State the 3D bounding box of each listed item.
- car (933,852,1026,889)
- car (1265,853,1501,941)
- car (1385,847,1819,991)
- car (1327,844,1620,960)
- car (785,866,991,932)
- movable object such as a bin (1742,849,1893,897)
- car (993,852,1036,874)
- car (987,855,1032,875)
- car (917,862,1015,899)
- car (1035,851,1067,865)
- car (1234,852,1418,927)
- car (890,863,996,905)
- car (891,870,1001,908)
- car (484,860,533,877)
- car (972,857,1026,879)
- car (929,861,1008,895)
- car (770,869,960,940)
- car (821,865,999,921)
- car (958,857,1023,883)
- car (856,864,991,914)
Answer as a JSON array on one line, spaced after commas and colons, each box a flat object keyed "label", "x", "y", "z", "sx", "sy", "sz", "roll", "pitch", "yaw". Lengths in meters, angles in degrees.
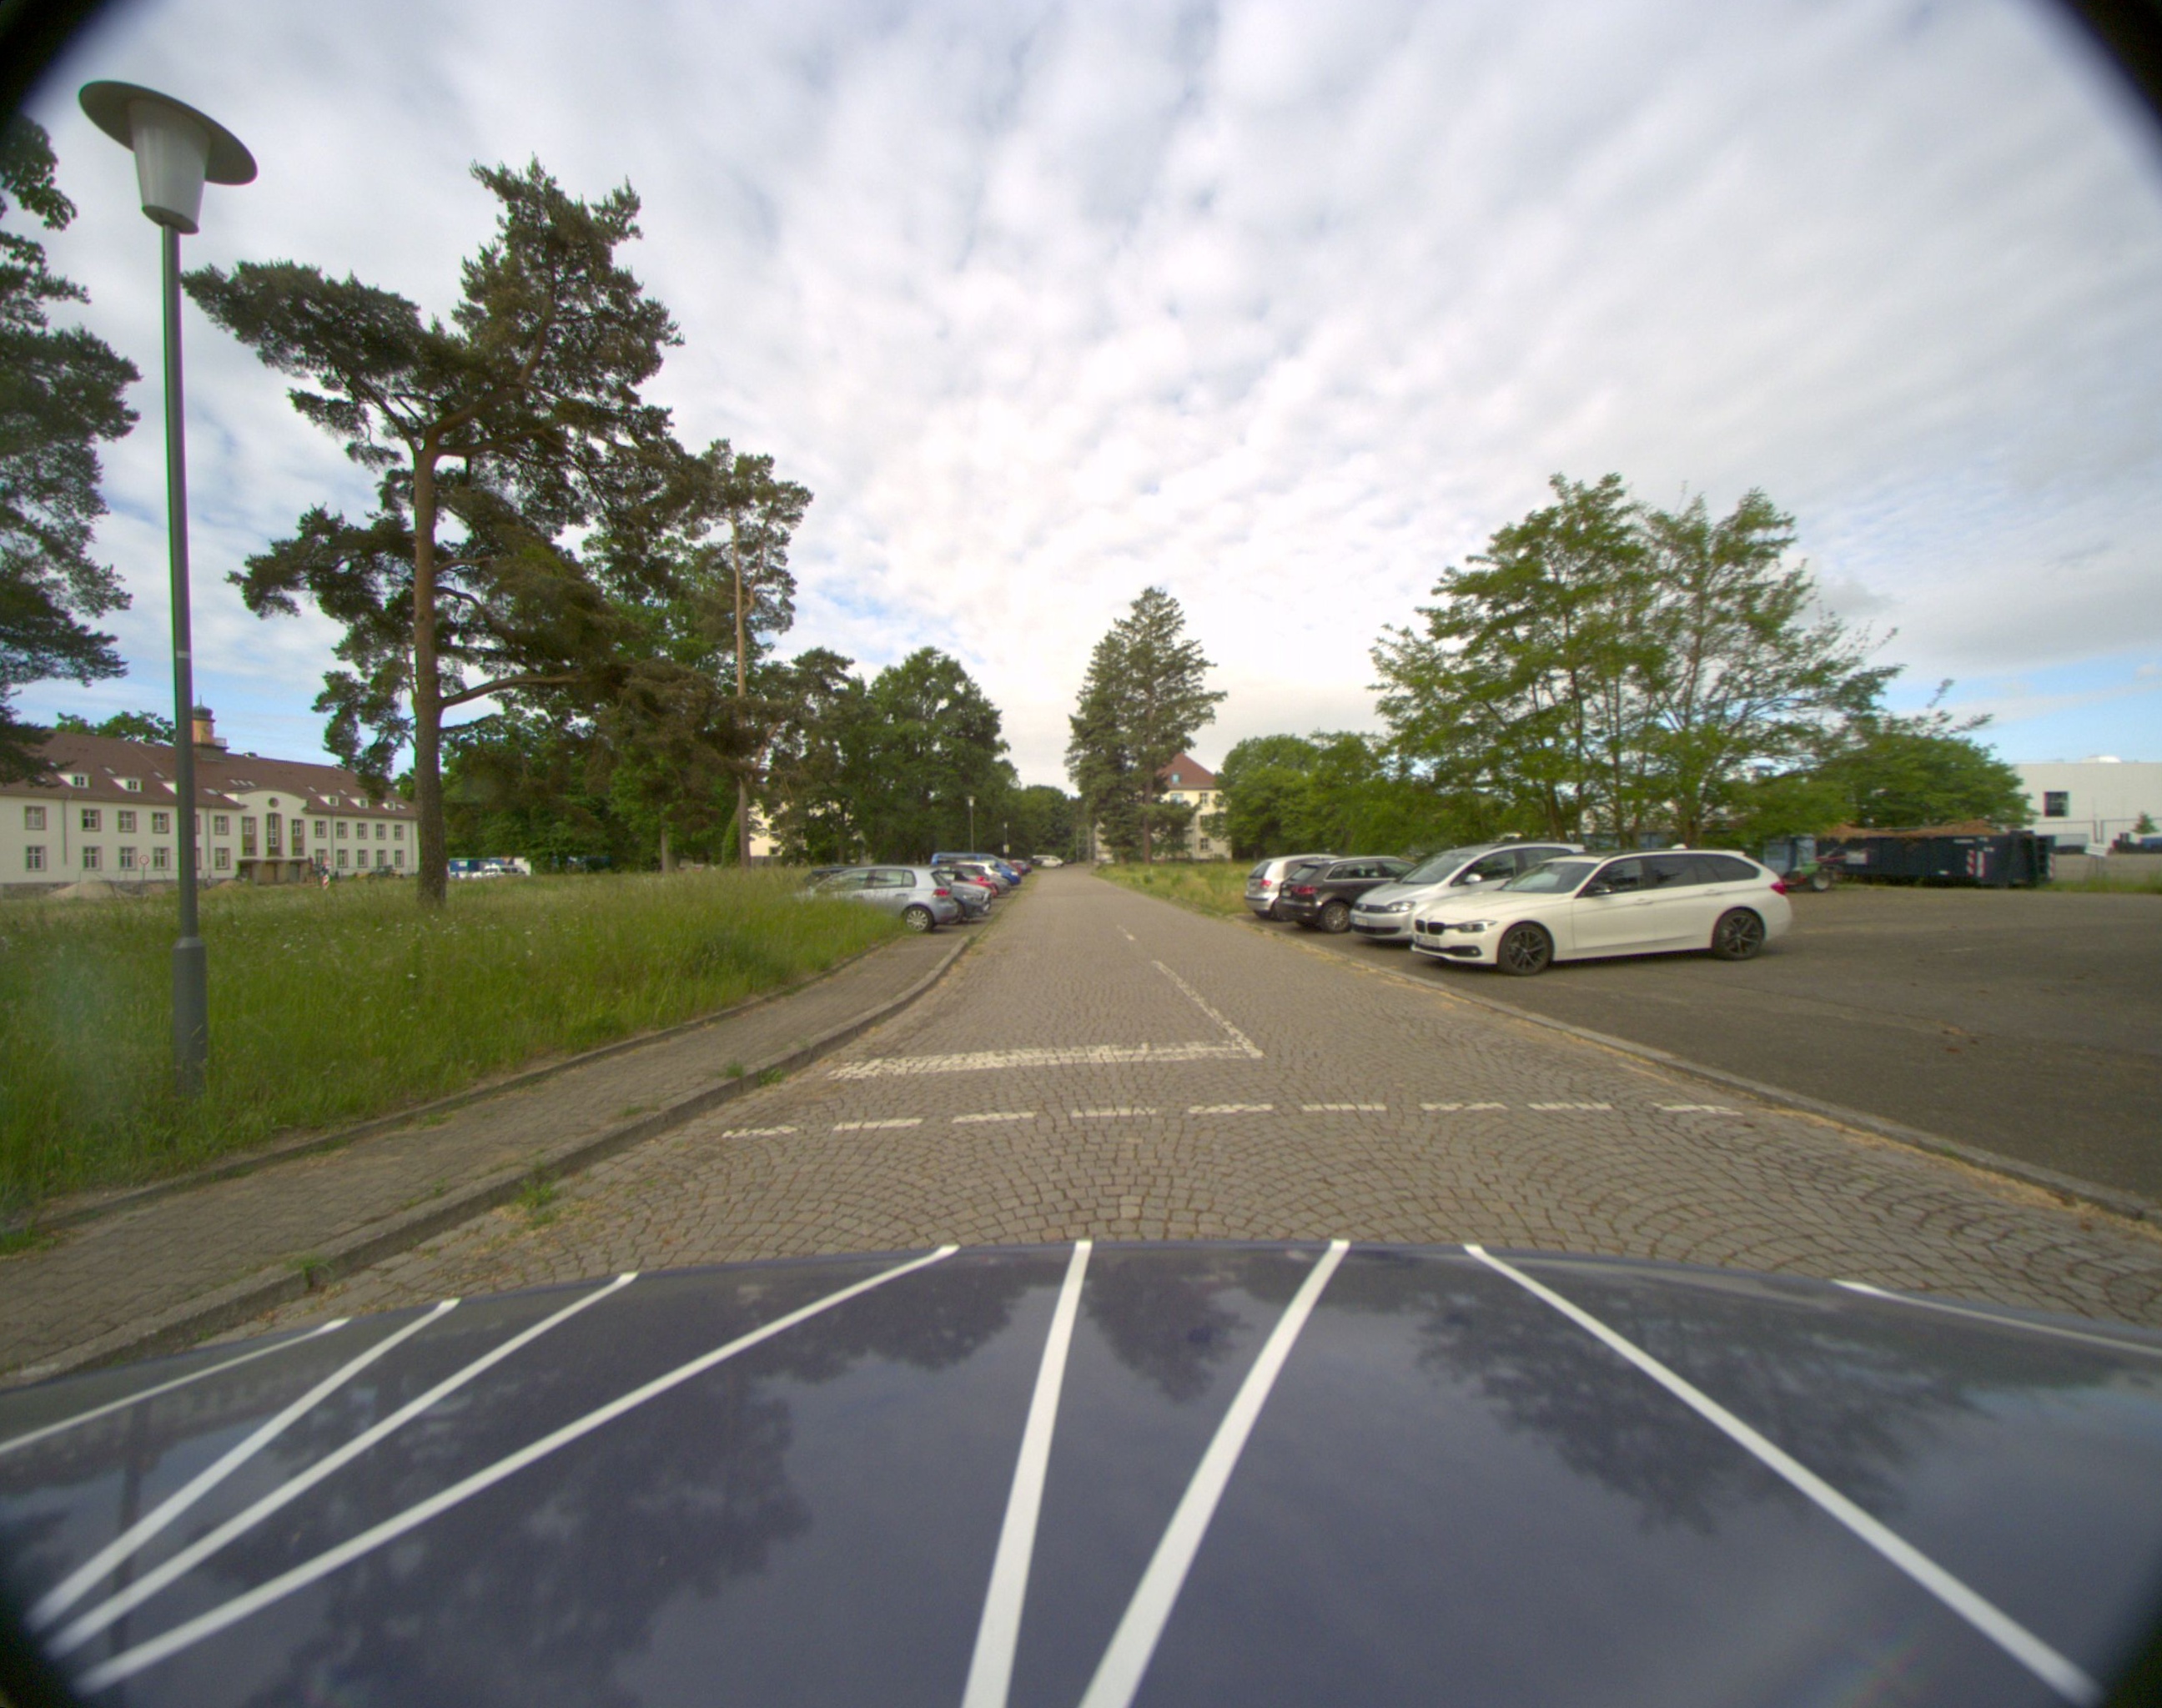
[{"label": "car", "x": -5.338, "y": 0.854, "z": 40.456, "sx": 4.750, "sy": 1.928, "sz": 1.999, "roll": 0, "pitch": 0, "yaw": -2}, {"label": "car", "x": 5.961, "y": 0.811, "z": 15.311, "sx": 3.998, "sy": 1.419, "sz": 1.750, "roll": -4, "pitch": 1, "yaw": -3}, {"label": "car", "x": 6.747, "y": 0.766, "z": 10.107, "sx": 4.661, "sy": 1.435, "sz": 1.801, "roll": -3, "pitch": 0, "yaw": -6}, {"label": "car", "x": 6.406, "y": 0.731, "z": 12.628, "sx": 3.999, "sy": 1.538, "sz": 1.723, "roll": -3, "pitch": 1, "yaw": -7}, {"label": "car", "x": -4.730, "y": 1.086, "z": 19.208, "sx": 4.771, "sy": 1.474, "sz": 1.761, "roll": -1, "pitch": 0, "yaw": -5}, {"label": "movable object such as a bin", "x": 18.981, "y": 0.470, "z": 19.664, "sx": 2.397, "sy": 1.154, "sz": 1.500, "roll": -1, "pitch": 0, "yaw": 3}, {"label": "car", "x": -6.462, "y": 0.867, "z": 74.349, "sx": 3.997, "sy": 2.002, "sz": 2.000, "roll": -1, "pitch": 0, "yaw": -1}, {"label": "car", "x": -6.552, "y": 0.970, "z": 69.947, "sx": 4.008, "sy": 1.752, "sz": 2.000, "roll": -1, "pitch": 0, "yaw": -1}, {"label": "car", "x": -4.829, "y": 1.093, "z": 32.223, "sx": 3.849, "sy": 1.448, "sz": 1.820, "roll": -1, "pitch": 0, "yaw": 0}, {"label": "car", "x": -4.899, "y": 0.661, "z": 123.302, "sx": 5.031, "sy": 2.164, "sz": 2.000, "roll": -1, "pitch": 0, "yaw": 0}, {"label": "car", "x": 5.740, "y": 0.802, "z": 18.054, "sx": 3.689, "sy": 1.444, "sz": 1.807, "roll": -4, "pitch": 1, "yaw": -7}, {"label": "car", "x": -5.257, "y": 1.130, "z": 29.318, "sx": 3.787, "sy": 1.497, "sz": 1.798, "roll": -1, "pitch": 0, "yaw": -4}, {"label": "car", "x": -4.678, "y": 1.213, "z": 26.640, "sx": 3.600, "sy": 1.200, "sz": 1.494, "roll": -1, "pitch": 0, "yaw": -1}, {"label": "car", "x": -71.179, "y": 1.807, "z": 94.568, "sx": 2.154, "sy": 2.002, "sz": 5.224, "roll": -1, "pitch": 0, "yaw": 1}, {"label": "car", "x": -6.427, "y": 1.114, "z": 59.698, "sx": 3.998, "sy": 1.521, "sz": 2.000, "roll": -2, "pitch": 0, "yaw": -2}, {"label": "car", "x": -5.157, "y": 1.095, "z": 35.037, "sx": 3.409, "sy": 1.443, "sz": 1.637, "roll": -1, "pitch": 0, "yaw": -1}, {"label": "car", "x": -4.562, "y": 1.048, "z": 16.532, "sx": 3.775, "sy": 1.418, "sz": 1.604, "roll": 0, "pitch": 0, "yaw": -8}, {"label": "car", "x": -4.863, "y": 1.095, "z": 22.092, "sx": 4.770, "sy": 1.474, "sz": 1.812, "roll": -1, "pitch": 0, "yaw": -2}, {"label": "car", "x": -5.842, "y": 1.038, "z": 49.383, "sx": 3.998, "sy": 1.601, "sz": 2.000, "roll": -1, "pitch": 0, "yaw": -2}, {"label": "car", "x": -4.954, "y": 1.093, "z": 24.352, "sx": 3.972, "sy": 1.443, "sz": 1.799, "roll": -1, "pitch": 0, "yaw": -2}]
